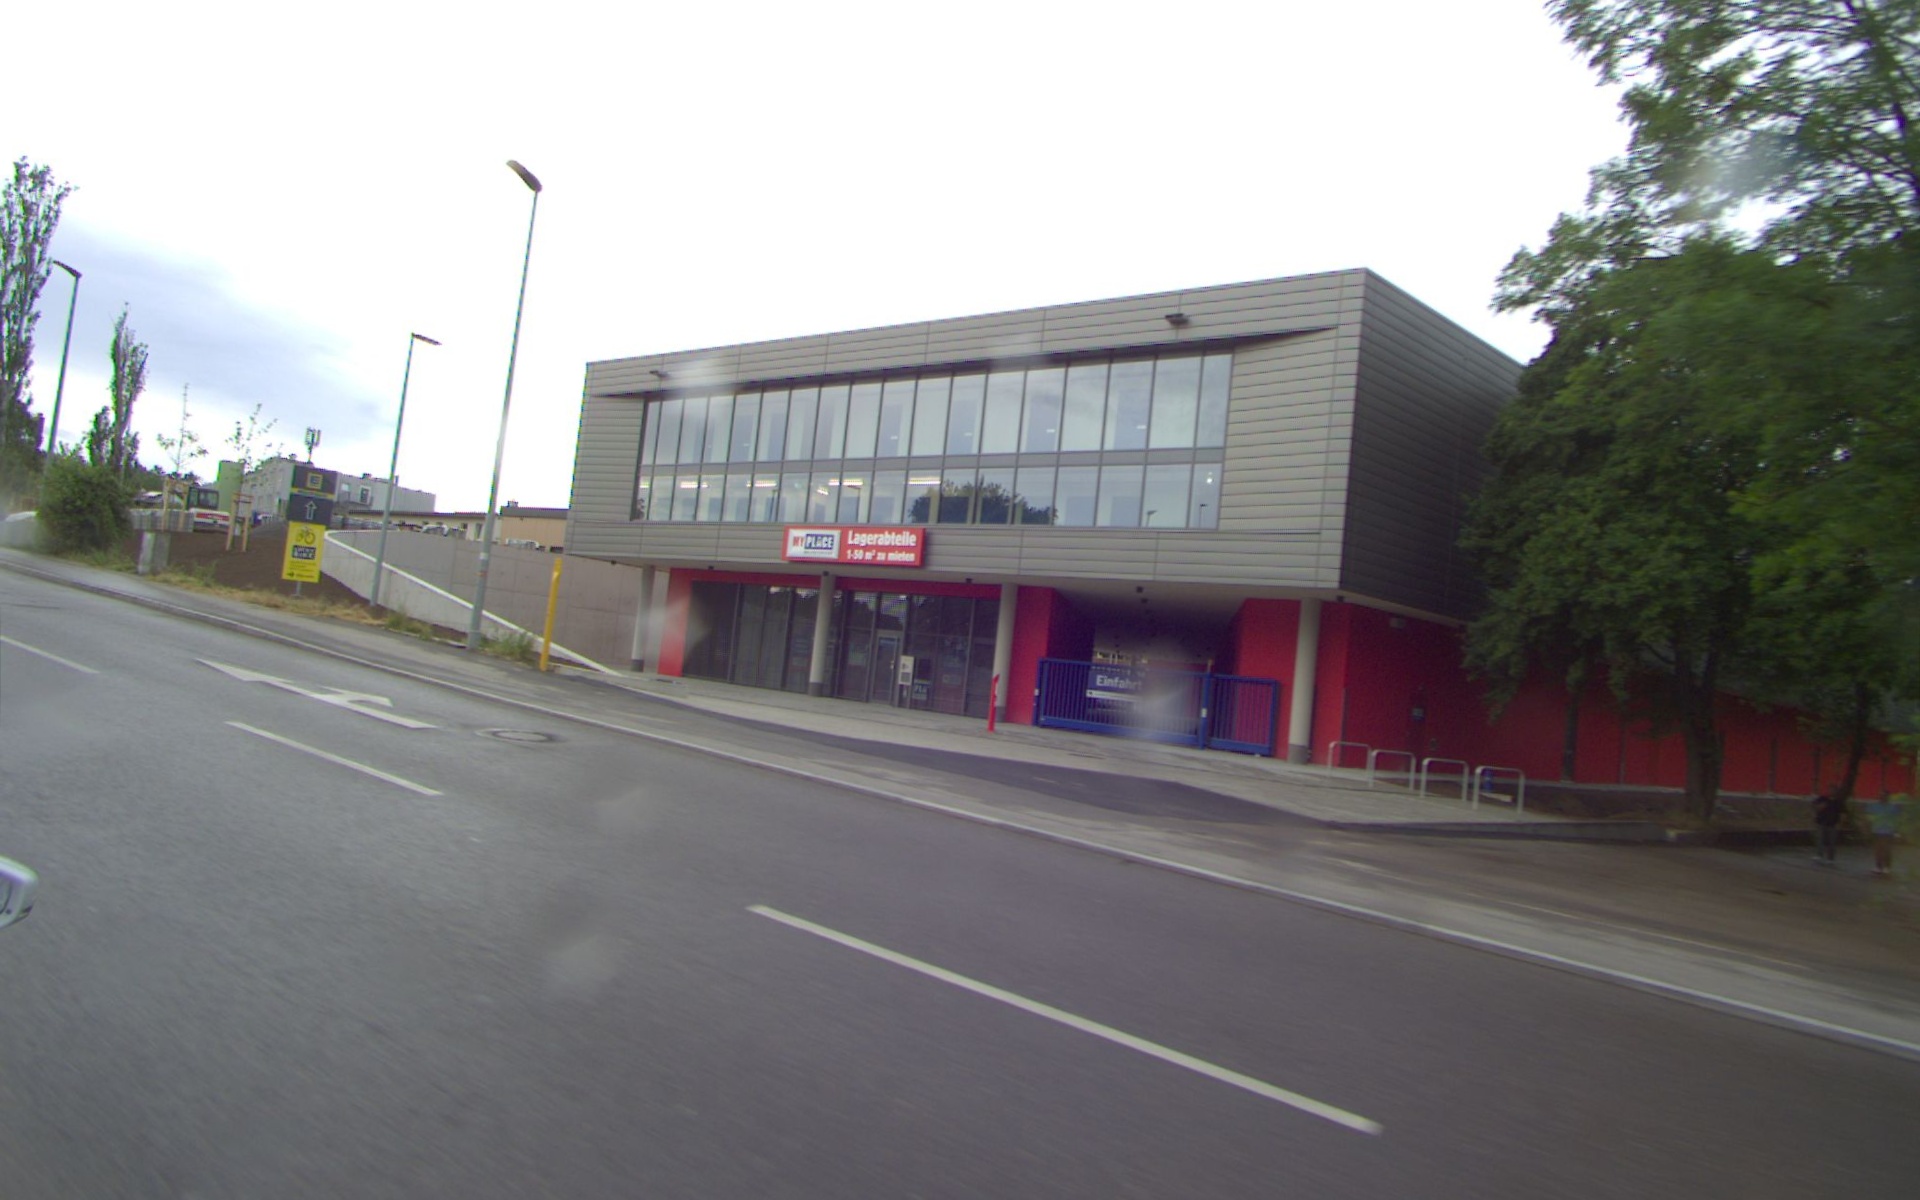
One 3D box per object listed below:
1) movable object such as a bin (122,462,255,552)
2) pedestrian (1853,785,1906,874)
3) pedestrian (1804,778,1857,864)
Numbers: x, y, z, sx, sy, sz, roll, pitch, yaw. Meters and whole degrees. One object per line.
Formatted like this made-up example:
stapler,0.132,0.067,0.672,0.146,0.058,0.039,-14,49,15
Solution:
movable object such as a bin,-35.636,-4.282,46.462,5.327,3.312,2.311,8,-2,25
pedestrian,20.581,5.124,22.522,0.580,1.836,0.596,9,-2,-29
pedestrian,20.095,5.087,23.224,0.580,1.836,0.621,9,-2,-29
